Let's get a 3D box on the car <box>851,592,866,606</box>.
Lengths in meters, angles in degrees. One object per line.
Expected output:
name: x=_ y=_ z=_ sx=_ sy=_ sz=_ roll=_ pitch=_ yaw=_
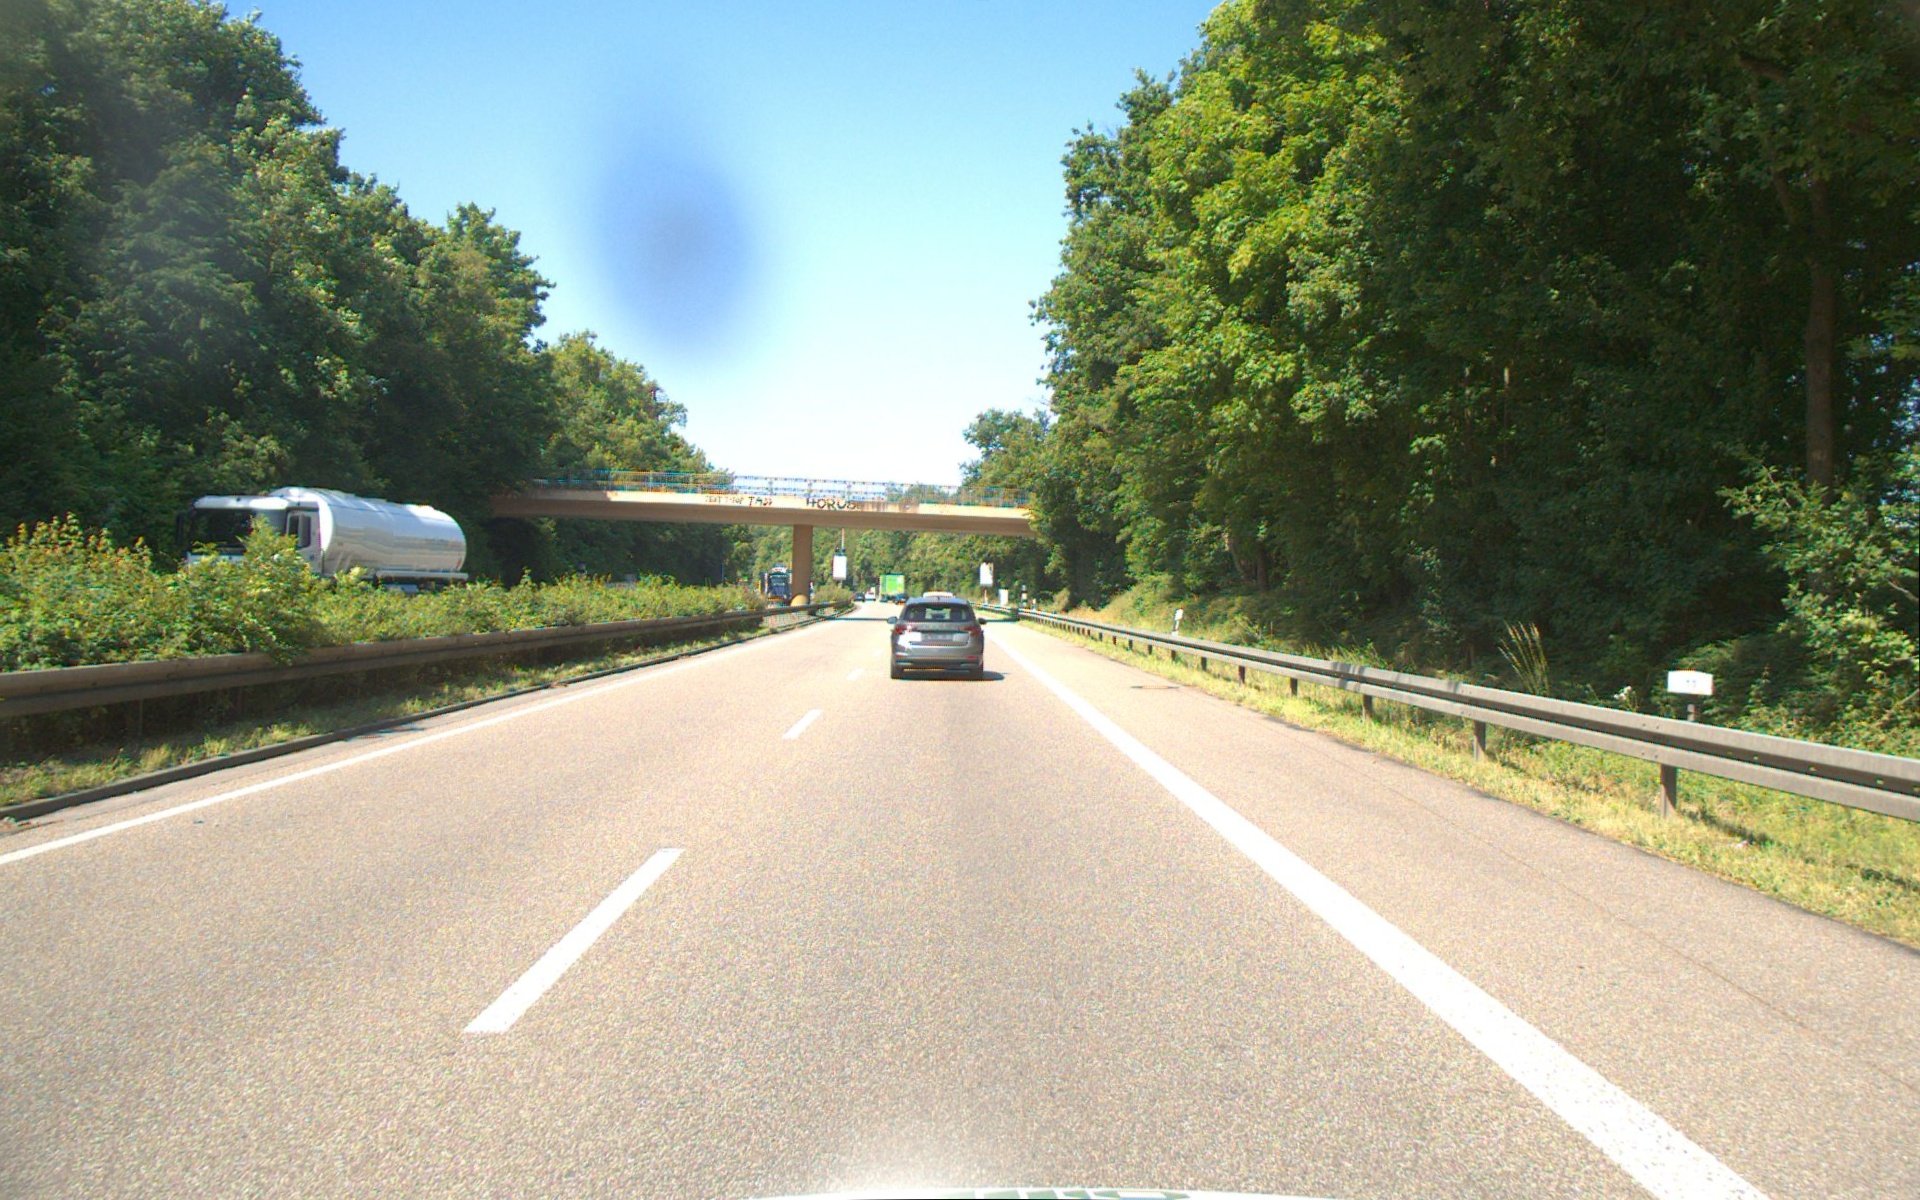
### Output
car: x=-15.066 y=-0.146 z=244.815 sx=1.953 sy=2.049 sz=3.999 roll=1 pitch=0 yaw=-1

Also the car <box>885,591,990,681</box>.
car: x=-0.360 y=0.609 z=30.320 sx=1.802 sy=1.497 sz=3.624 roll=1 pitch=0 yaw=1

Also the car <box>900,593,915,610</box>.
car: x=-6.613 y=0.185 z=208.500 sx=1.727 sy=2.049 sz=3.587 roll=1 pitch=0 yaw=-1

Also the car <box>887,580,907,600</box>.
car: x=-8.989 y=-1.434 z=237.410 sx=2.693 sy=2.700 sz=3.999 roll=1 pitch=0 yaw=-1

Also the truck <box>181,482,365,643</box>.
truck: x=-15.567 y=-0.805 z=37.772 sx=2.291 sy=3.400 sz=4.541 roll=1 pitch=0 yaw=-1

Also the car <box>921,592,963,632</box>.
car: x=-0.650 y=0.433 z=63.010 sx=1.491 sy=1.472 sz=3.340 roll=1 pitch=0 yaw=1

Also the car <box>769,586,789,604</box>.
car: x=-21.152 y=-0.551 z=193.553 sx=1.953 sy=2.049 sz=3.999 roll=1 pitch=0 yaw=-1

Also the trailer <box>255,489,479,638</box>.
trailer: x=-15.525 y=-0.856 z=44.366 sx=1.953 sy=3.461 sz=11.417 roll=1 pitch=0 yaw=-1
